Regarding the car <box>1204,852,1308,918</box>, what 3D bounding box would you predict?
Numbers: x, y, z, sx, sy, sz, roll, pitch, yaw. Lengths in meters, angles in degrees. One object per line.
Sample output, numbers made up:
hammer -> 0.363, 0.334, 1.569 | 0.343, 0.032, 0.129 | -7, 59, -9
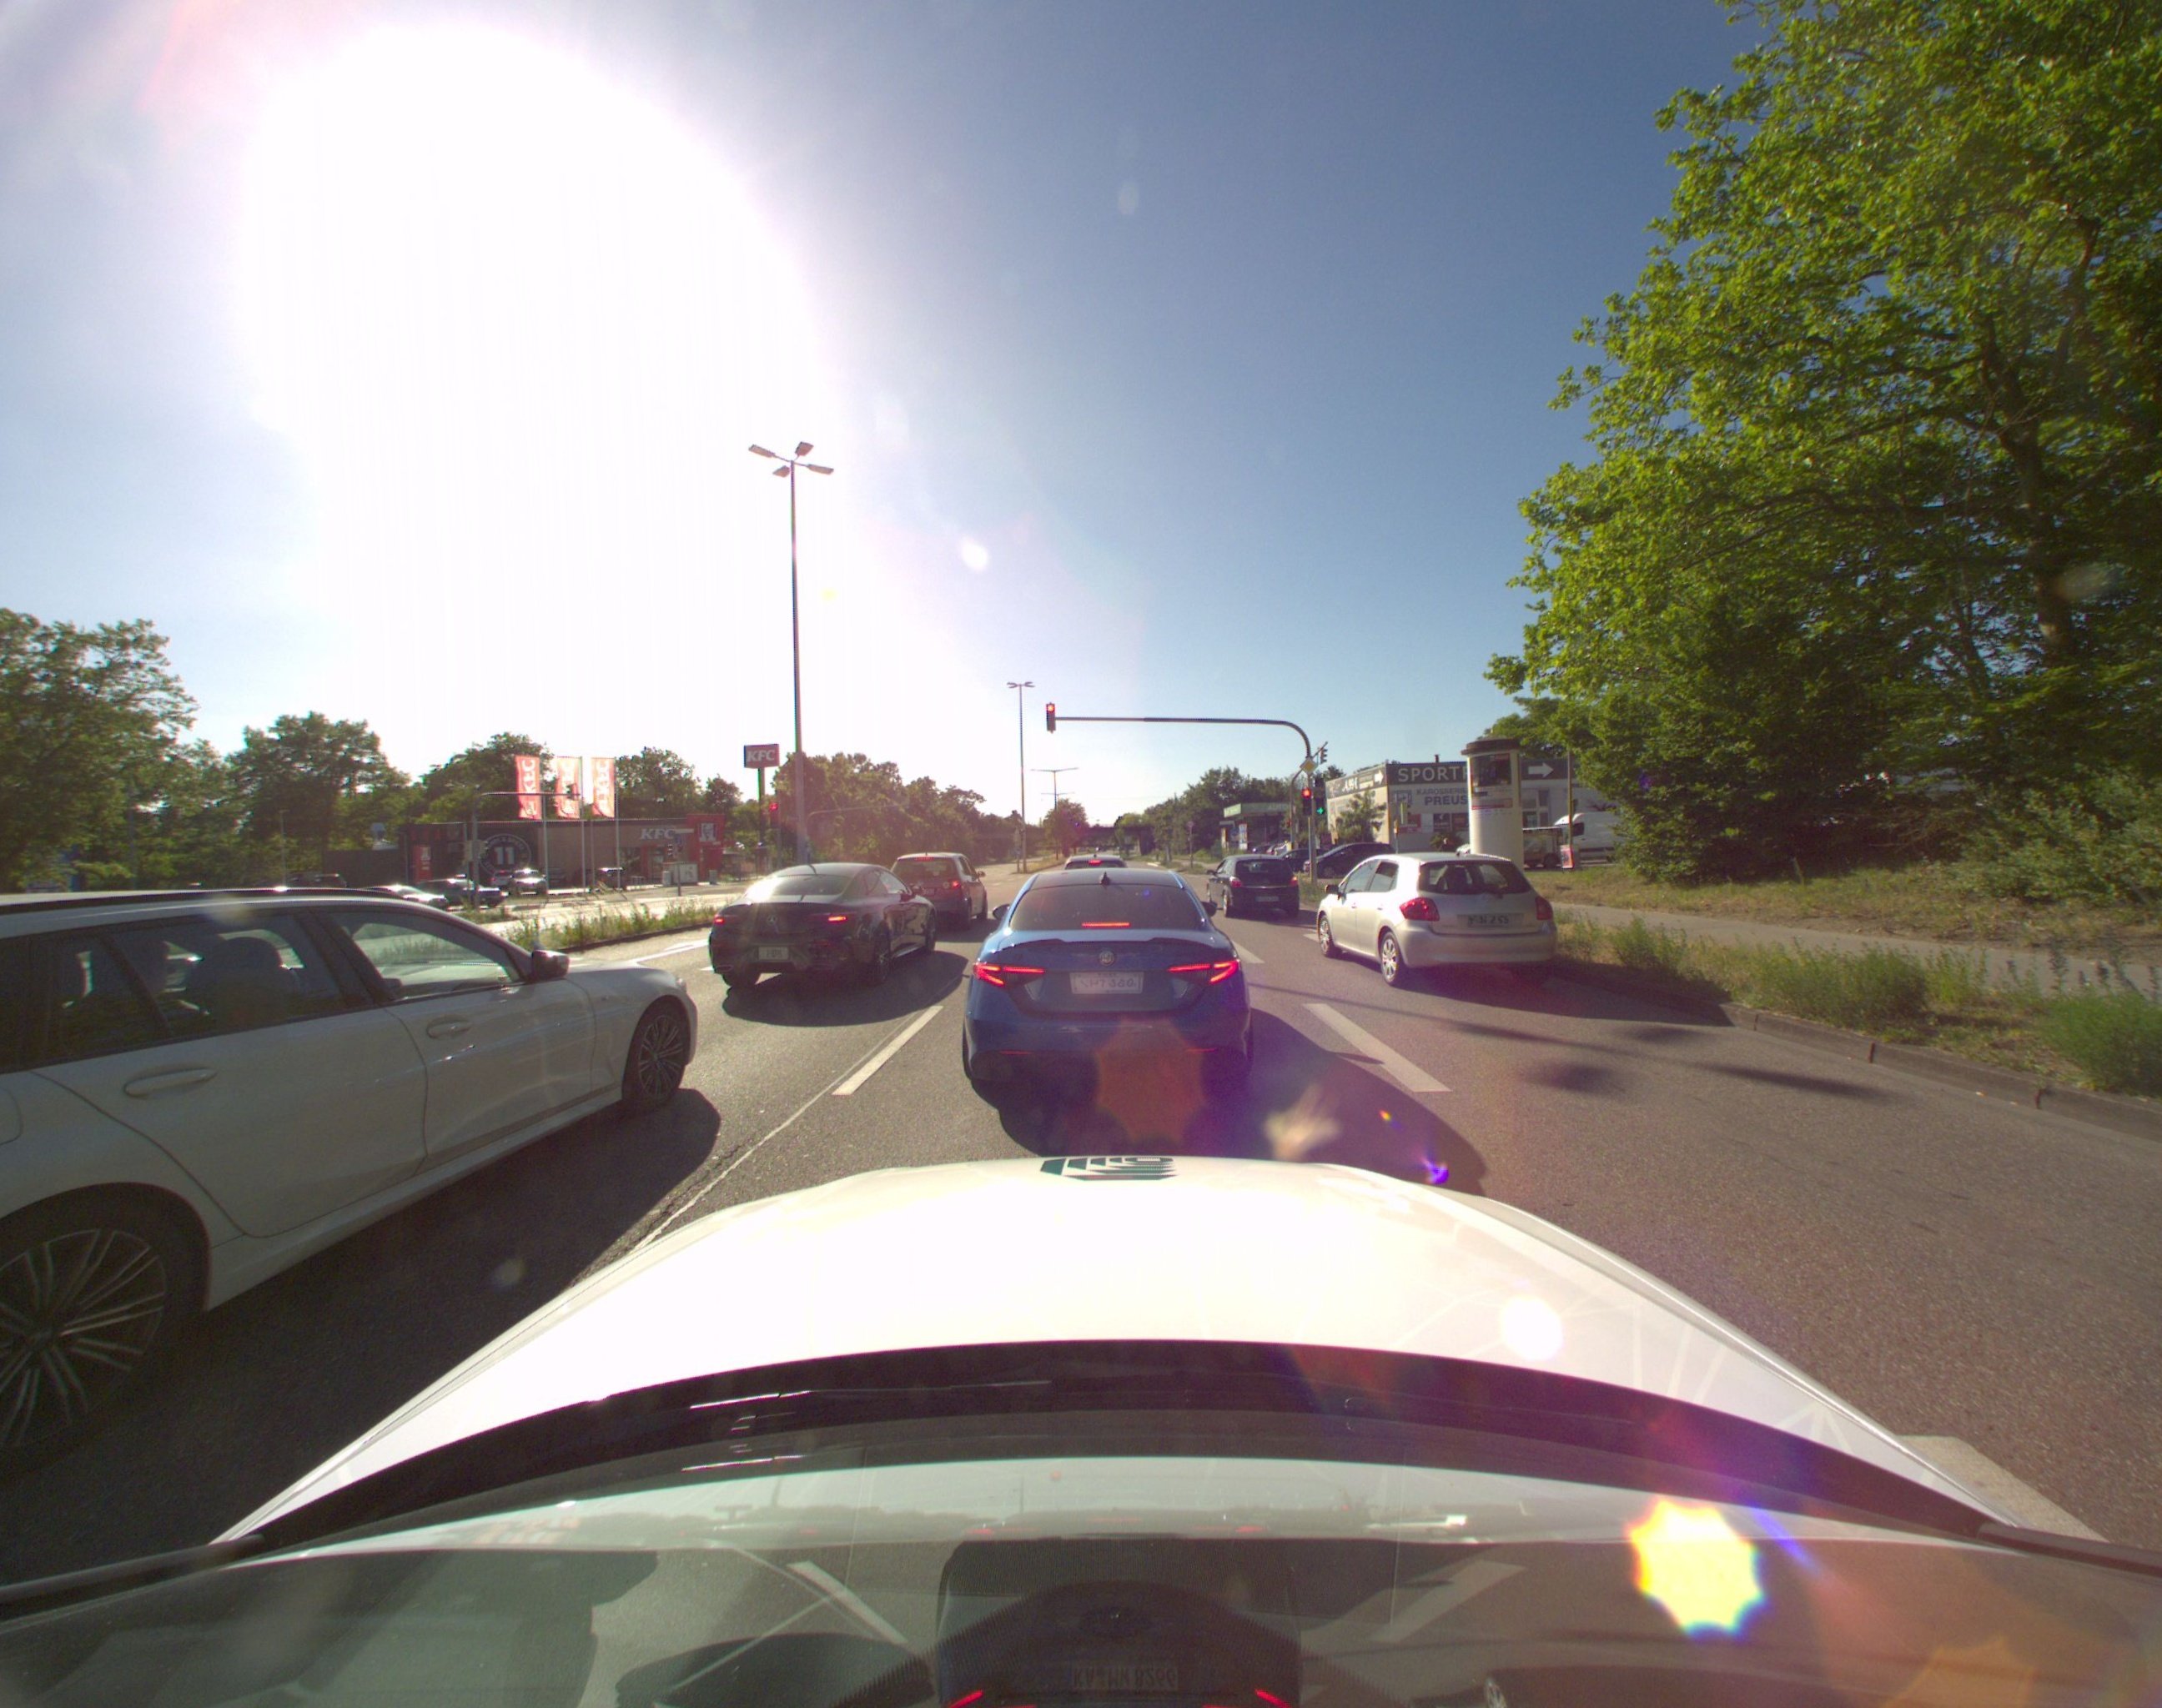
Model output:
car -> 4.162, 0.680, 20.046 | 1.727, 1.442, 4.373 | 0, 0, 2

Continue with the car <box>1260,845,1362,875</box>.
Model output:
car -> 11.915, 0.314, 42.411 | 4.803, 1.468, 1.758 | 0, -1, 0

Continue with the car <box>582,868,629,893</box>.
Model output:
car -> -33.915, 1.862, 58.023 | 1.946, 1.740, 4.046 | 0, -1, -45

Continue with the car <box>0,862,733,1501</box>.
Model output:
car -> -3.449, 0.825, 3.419 | 1.805, 1.486, 4.599 | -1, 0, 2

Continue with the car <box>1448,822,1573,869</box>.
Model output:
car -> 20.508, -0.379, 38.996 | 4.937, 2.035, 1.881 | -2, -1, 0

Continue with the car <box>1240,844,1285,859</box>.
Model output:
car -> 18.426, -0.256, 82.722 | 3.995, 1.552, 1.989 | 0, -1, -16

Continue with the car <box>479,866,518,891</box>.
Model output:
car -> -45.488, 1.876, 63.591 | 2.011, 1.813, 3.727 | 0, -1, -43

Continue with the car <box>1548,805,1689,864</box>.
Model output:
car -> 27.600, -0.978, 41.978 | 5.812, 2.672, 2.001 | -3, -1, 2

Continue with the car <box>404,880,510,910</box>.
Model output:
car -> -31.921, 2.091, 41.749 | 3.940, 1.453, 1.936 | 0, -1, 1

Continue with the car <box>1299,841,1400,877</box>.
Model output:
car -> 12.821, 0.243, 39.057 | 4.291, 1.650, 1.638 | 0, -1, 1

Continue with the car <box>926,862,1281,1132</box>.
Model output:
car -> 0.226, 0.786, 6.232 | 1.901, 1.423, 3.722 | 0, -1, 3

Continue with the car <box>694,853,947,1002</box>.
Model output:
car -> -3.136, 0.775, 10.887 | 1.806, 1.551, 4.544 | -1, 0, 1

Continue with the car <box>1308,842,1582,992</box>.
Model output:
car -> 4.315, 0.640, 10.439 | 1.777, 1.537, 4.109 | 0, 0, 2

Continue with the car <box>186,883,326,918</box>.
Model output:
car -> -39.096, 2.186, 38.688 | 4.608, 1.579, 1.936 | 0, -1, 0

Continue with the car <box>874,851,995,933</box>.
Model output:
car -> -3.008, 0.738, 17.620 | 1.806, 1.551, 4.353 | 0, -1, 0

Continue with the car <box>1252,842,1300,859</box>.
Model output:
car -> 17.816, -0.316, 74.455 | 3.971, 1.552, 2.001 | 0, -1, 2

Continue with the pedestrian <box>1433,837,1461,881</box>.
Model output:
pedestrian -> 14.189, 0.185, 31.581 | 0.814, 1.669, 0.514 | 0, -1, 1

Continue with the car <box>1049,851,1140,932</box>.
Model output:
car -> 0.366, 0.720, 17.076 | 1.696, 1.497, 3.722 | 0, -1, 3

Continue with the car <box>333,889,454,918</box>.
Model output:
car -> -32.183, 2.313, 38.206 | 4.070, 1.252, 1.871 | 0, -1, 0

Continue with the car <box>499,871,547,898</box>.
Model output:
car -> -37.382, 2.018, 54.552 | 1.946, 1.740, 4.046 | 0, -1, -45
